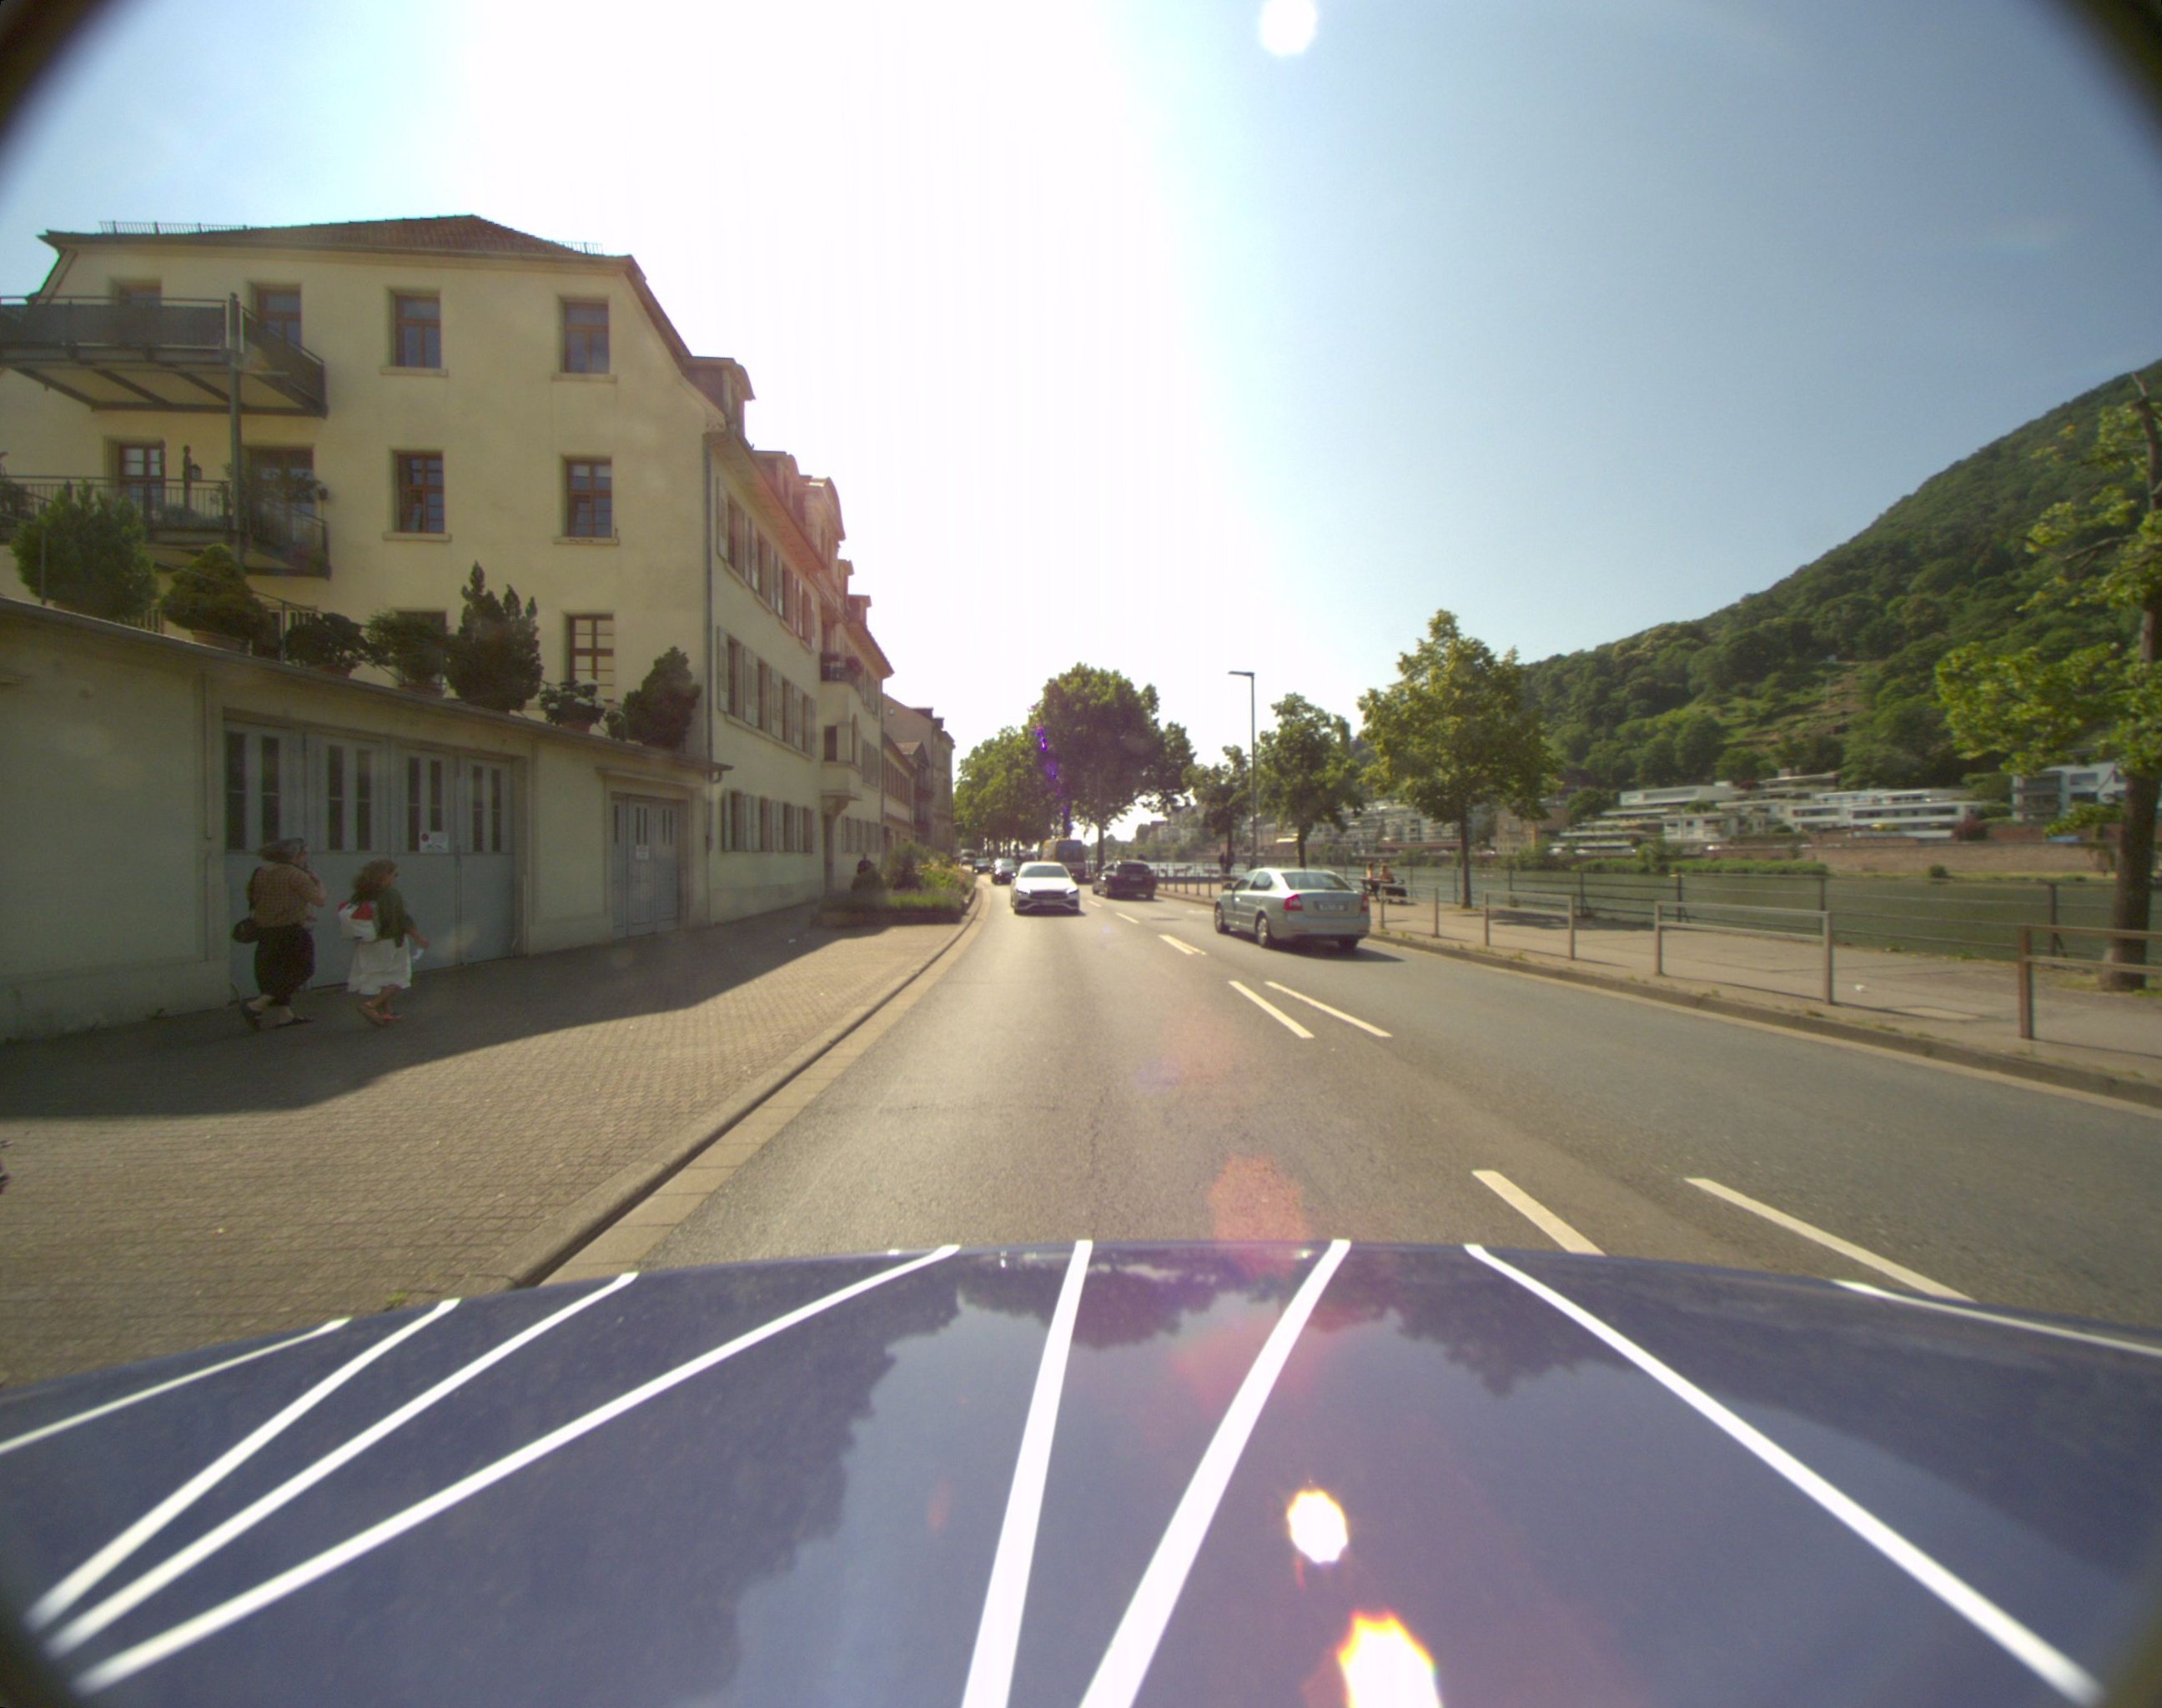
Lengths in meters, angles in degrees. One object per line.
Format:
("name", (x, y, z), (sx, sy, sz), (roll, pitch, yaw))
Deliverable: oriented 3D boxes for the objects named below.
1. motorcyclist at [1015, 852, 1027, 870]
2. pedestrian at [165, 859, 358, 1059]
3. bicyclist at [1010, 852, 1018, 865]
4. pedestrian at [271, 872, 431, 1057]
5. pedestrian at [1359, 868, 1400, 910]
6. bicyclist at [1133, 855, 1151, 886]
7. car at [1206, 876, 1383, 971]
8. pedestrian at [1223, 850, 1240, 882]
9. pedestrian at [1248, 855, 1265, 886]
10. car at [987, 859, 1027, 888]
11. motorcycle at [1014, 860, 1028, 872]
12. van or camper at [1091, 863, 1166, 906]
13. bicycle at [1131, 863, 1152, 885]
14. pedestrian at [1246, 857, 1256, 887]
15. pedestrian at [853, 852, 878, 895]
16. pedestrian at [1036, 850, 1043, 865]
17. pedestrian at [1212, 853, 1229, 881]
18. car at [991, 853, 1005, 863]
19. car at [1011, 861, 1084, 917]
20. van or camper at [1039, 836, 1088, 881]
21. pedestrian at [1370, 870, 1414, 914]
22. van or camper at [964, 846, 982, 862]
("motorcyclist", (-5.513, 0.640, 69.635), (0.882, 1.574, 1.024), (1, 0, -11))
("pedestrian", (-7.408, 0.898, 6.923), (0.740, 1.689, 0.933), (1, 0, -2))
("bicyclist", (-7.947, 0.504, 89.924), (0.769, 1.522, 1.024), (-1, -1, -8))
("pedestrian", (-6.613, 0.965, 6.920), (0.764, 1.586, 0.695), (0, 1, -2))
("pedestrian", (9.378, 1.096, 23.906), (0.939, 1.273, 0.849), (0, 1, -1))
("bicyclist", (3.342, 0.881, 41.543), (0.743, 1.658, 1.088), (0, 0, -8))
("car", (3.834, 1.195, 14.488), (1.819, 1.420, 4.309), (2, -1, -5))
("pedestrian", (9.178, 0.698, 46.394), (0.696, 1.934, 0.886), (0, 1, -11))
("pedestrian", (9.396, 0.874, 40.641), (0.695, 1.606, 0.663), (0, 1, -3))
("car", (-3.897, 1.015, 40.780), (1.876, 1.415, 4.743), (-1, 0, -3))
("motorcycle", (-5.513, 1.097, 69.707), (0.886, 1.071, 2.325), (1, 0, -14))
("van or camper", (1.769, 1.139, 29.975), (2.000, 1.446, 4.679), (2, 0, -8))
("bicycle", (3.305, 1.082, 41.676), (0.714, 1.162, 1.894), (0, 0, -8))
("pedestrian", (9.209, 0.959, 41.159), (0.415, 1.588, 0.450), (0, 1, -3))
("pedestrian", (-8.683, 0.776, 30.626), (0.764, 1.703, 0.695), (3, 0, -7))
("pedestrian", (-4.789, 0.417, 87.483), (0.655, 1.703, 0.792), (1, 0, -17))
("pedestrian", (8.571, 0.816, 46.662), (0.759, 1.673, 0.657), (-3, 1, -14))
("car", (-12.155, 0.563, 110.978), (1.707, 1.436, 4.088), (-1, -1, -10))
("car", (-1.108, 0.976, 22.773), (1.876, 1.415, 4.742), (1, 0, -6))
("van or camper", (-1.205, 0.241, 47.295), (2.094, 2.542, 7.085), (0, 0, -9))
("pedestrian", (9.403, 1.133, 22.994), (0.939, 1.273, 0.849), (0, 1, -1))
("van or camper", (-16.271, -0.033, 114.260), (2.440, 2.271, 6.197), (0, 0, -11))
